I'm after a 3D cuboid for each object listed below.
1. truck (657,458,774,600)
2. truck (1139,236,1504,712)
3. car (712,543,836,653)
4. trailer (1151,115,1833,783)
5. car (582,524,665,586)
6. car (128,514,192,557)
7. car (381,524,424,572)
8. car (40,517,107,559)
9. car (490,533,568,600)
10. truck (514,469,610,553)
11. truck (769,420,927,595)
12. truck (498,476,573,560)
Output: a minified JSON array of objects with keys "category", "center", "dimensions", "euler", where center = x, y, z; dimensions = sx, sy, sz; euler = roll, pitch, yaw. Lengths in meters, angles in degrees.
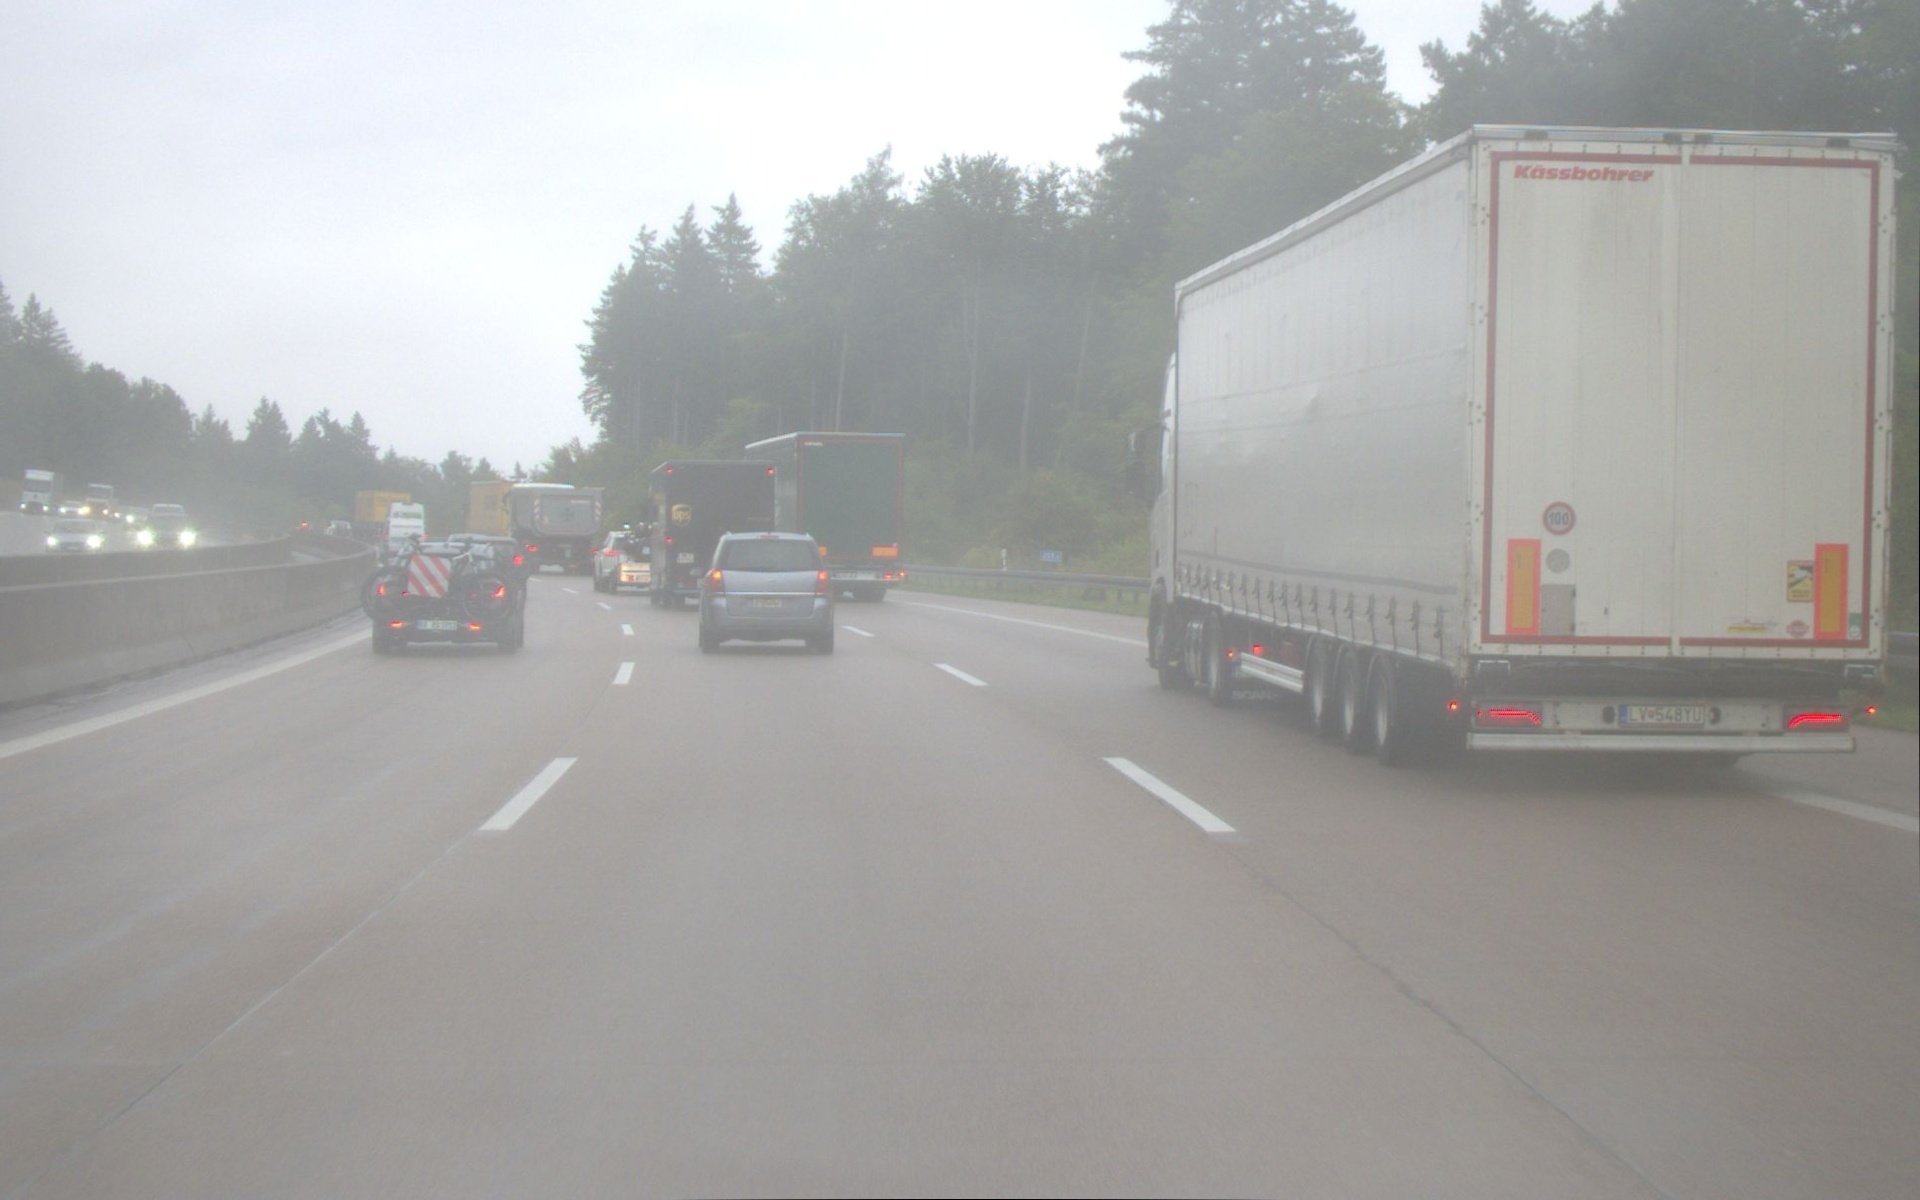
[{"category":"truck","center":[-5.315,-1.568,73.882],"dimensions":[2.269,2.877,7.905],"euler":[0,2,-6]},{"category":"truck","center":[3.221,-1.116,31.856],"dimensions":[2.419,4.054,4.979],"euler":[0,1,-5]},{"category":"car","center":[-2.522,-0.059,46.325],"dimensions":[1.553,1.347,3.684],"euler":[2,1,-4]},{"category":"trailer","center":[3.586,-1.030,26.979],"dimensions":[2.419,4.054,12.057],"euler":[0,1,-5]},{"category":"car","center":[-8.589,-1.170,88.047],"dimensions":[1.881,1.468,4.001],"euler":[2,1,-3]},{"category":"car","center":[-26.468,-2.124,113.814],"dimensions":[1.621,1.388,4.001],"euler":[0,1,-6]},{"category":"car","center":[-23.888,-2.216,147.462],"dimensions":[1.725,2.007,3.657],"euler":[0,0,-8]},{"category":"car","center":[-29.835,-2.090,115.783],"dimensions":[1.621,1.388,4.001],"euler":[0,1,-6]},{"category":"car","center":[-10.047,-0.794,80.299],"dimensions":[1.683,1.457,3.684],"euler":[2,1,-6]},{"category":"truck","center":[-14.361,-3.228,123.651],"dimensions":[3.082,2.895,7.905],"euler":[0,2,-9]},{"category":"truck","center":[-2.933,-2.288,86.549],"dimensions":[3.368,4.117,10.439],"euler":[0,1,-5]},{"category":"truck","center":[-21.861,-4.178,177.057],"dimensions":[3.739,4.195,6.819],"euler":[0,0,-7]}]
